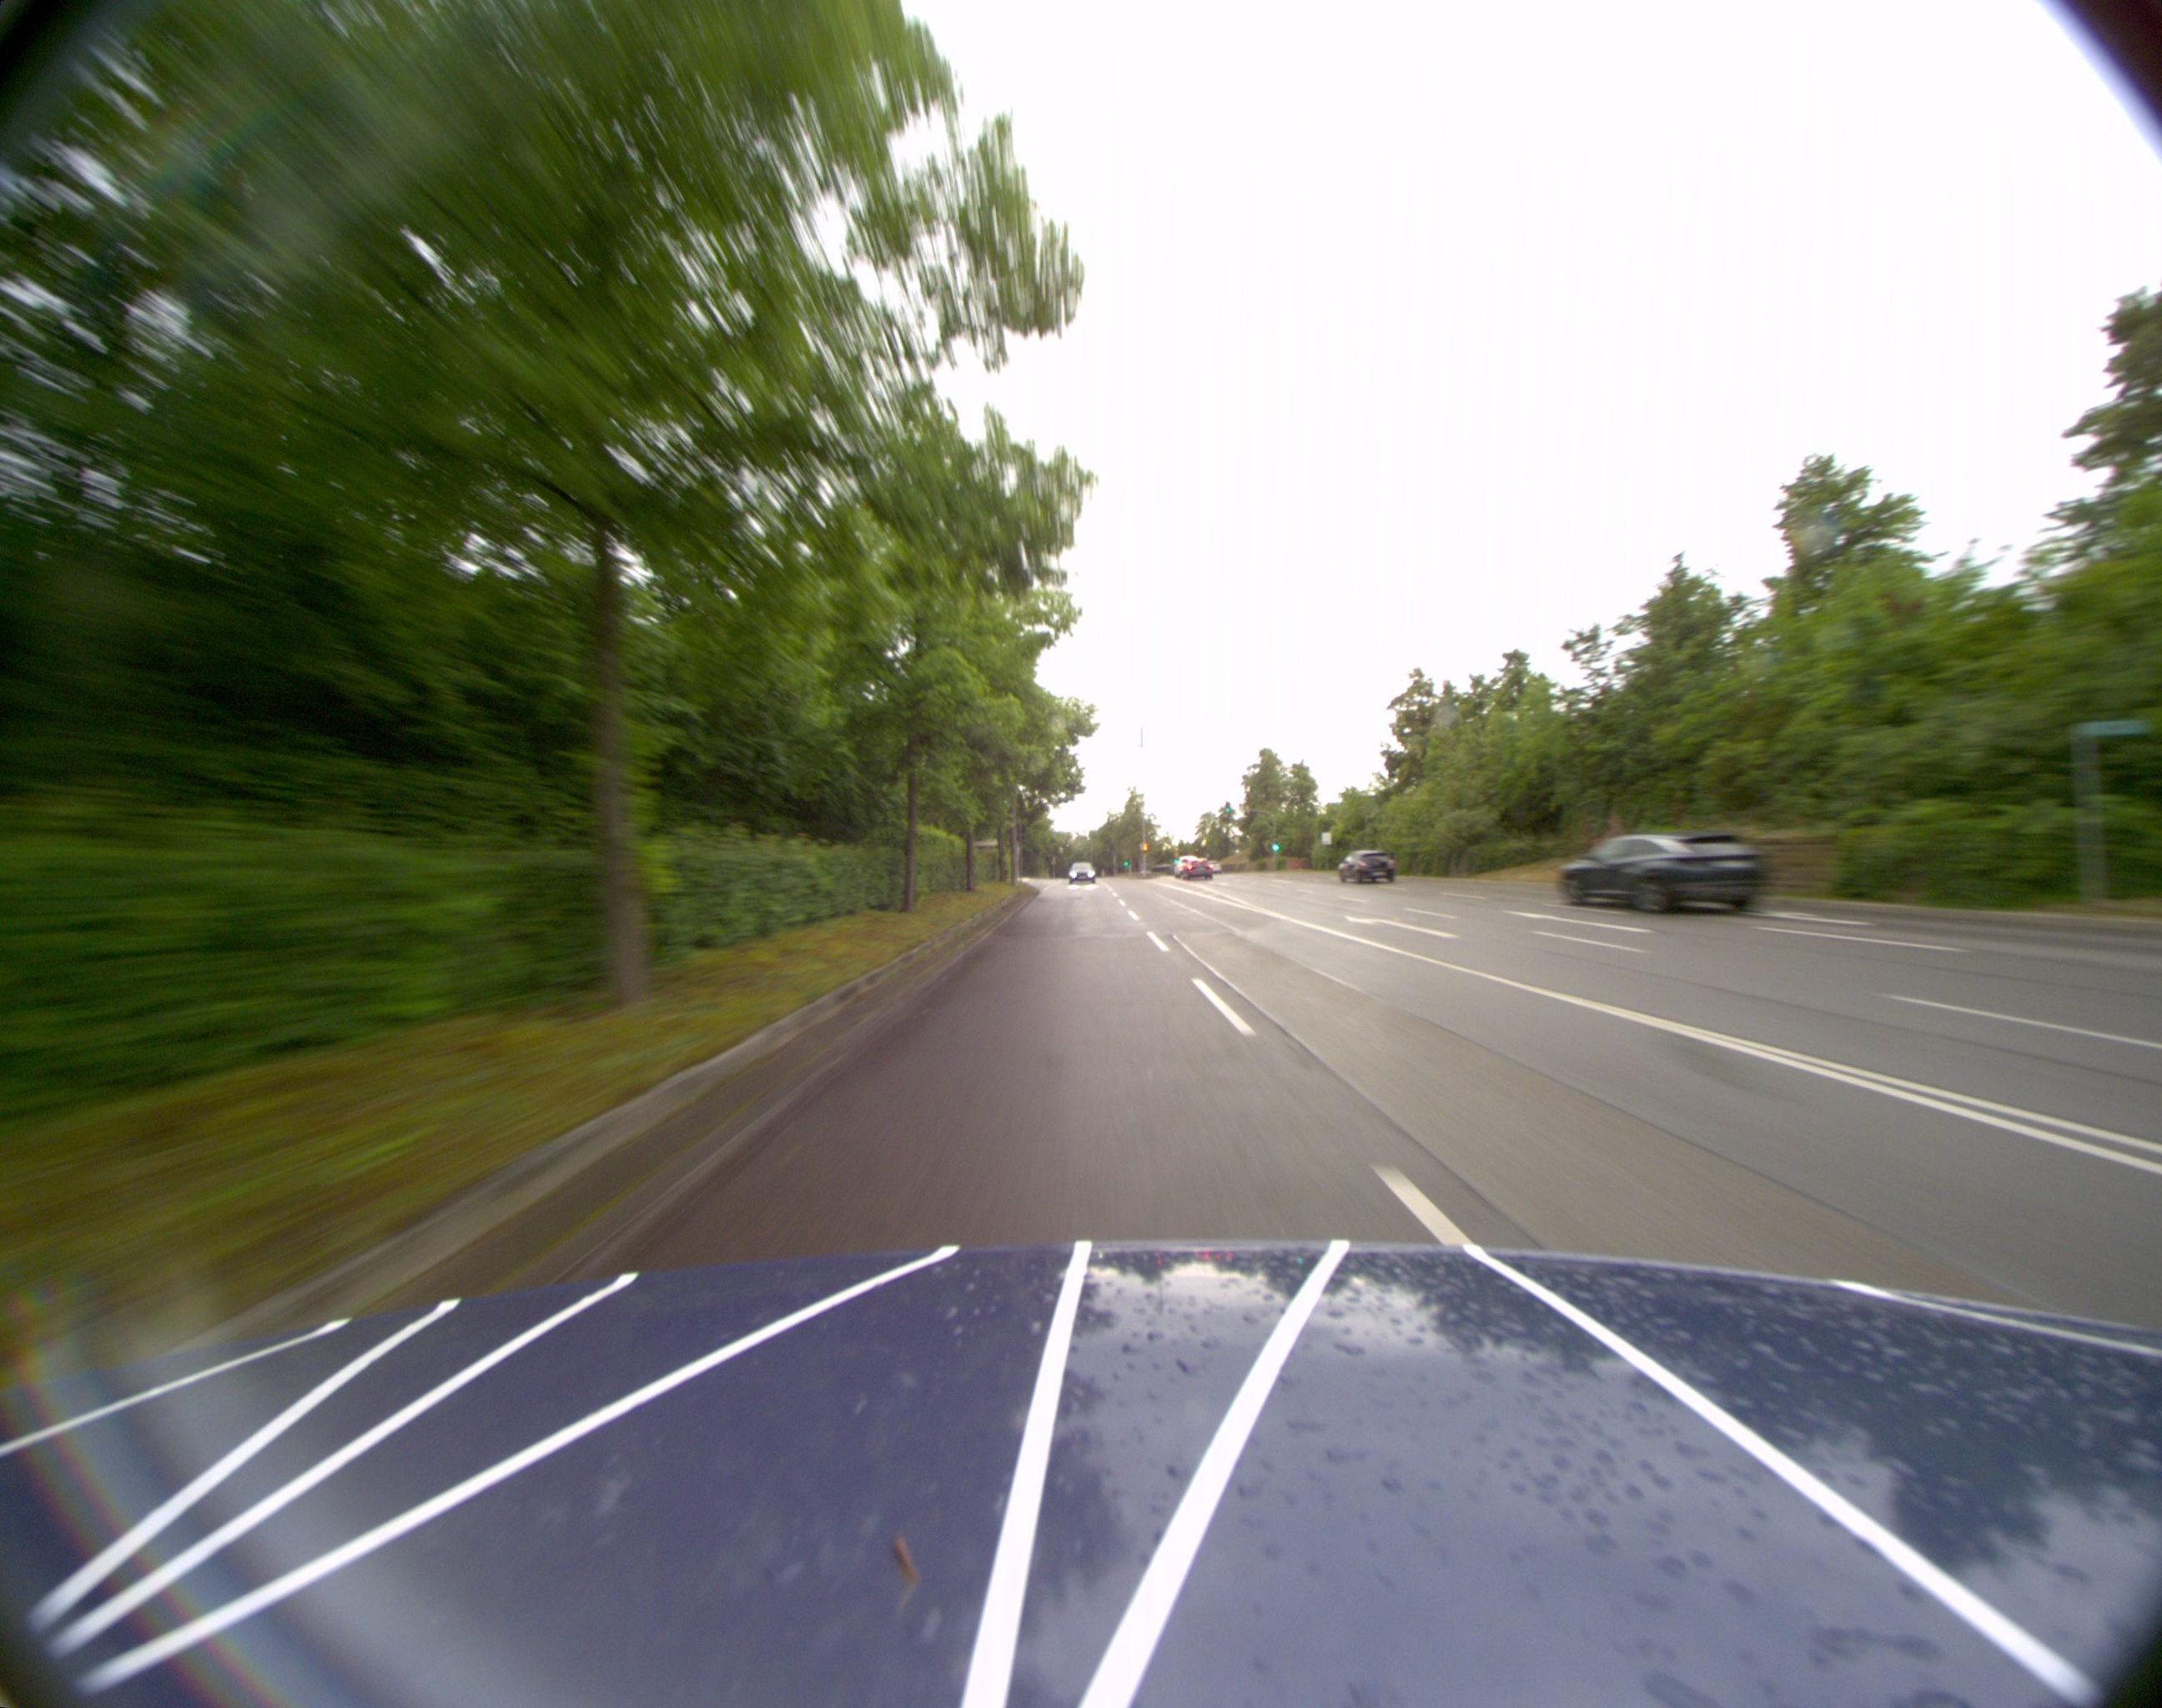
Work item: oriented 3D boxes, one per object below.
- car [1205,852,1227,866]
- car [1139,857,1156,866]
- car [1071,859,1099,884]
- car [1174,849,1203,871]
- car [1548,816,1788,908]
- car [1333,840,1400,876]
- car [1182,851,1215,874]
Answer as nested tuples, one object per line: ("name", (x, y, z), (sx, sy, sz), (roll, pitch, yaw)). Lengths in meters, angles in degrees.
("car", (16.297, 0.621, 91.705), (1.891, 1.646, 4.450), (-2, 0, 1))
("car", (11.830, 1.362, 136.075), (1.892, 1.646, 4.337), (-2, 0, -10))
("car", (0.318, 1.180, 52.820), (1.737, 1.577, 4.287), (-2, 0, 3))
("car", (8.683, 0.459, 61.548), (1.890, 1.646, 4.451), (-2, 0, 3))
("car", (12.188, 0.149, 16.232), (1.804, 1.597, 4.429), (-3, 0, 3))
("car", (13.016, 0.173, 34.836), (1.678, 1.459, 3.862), (-3, 0, 2))
("car", (8.208, 0.581, 53.412), (1.781, 1.459, 3.998), (-2, 0, 3))
